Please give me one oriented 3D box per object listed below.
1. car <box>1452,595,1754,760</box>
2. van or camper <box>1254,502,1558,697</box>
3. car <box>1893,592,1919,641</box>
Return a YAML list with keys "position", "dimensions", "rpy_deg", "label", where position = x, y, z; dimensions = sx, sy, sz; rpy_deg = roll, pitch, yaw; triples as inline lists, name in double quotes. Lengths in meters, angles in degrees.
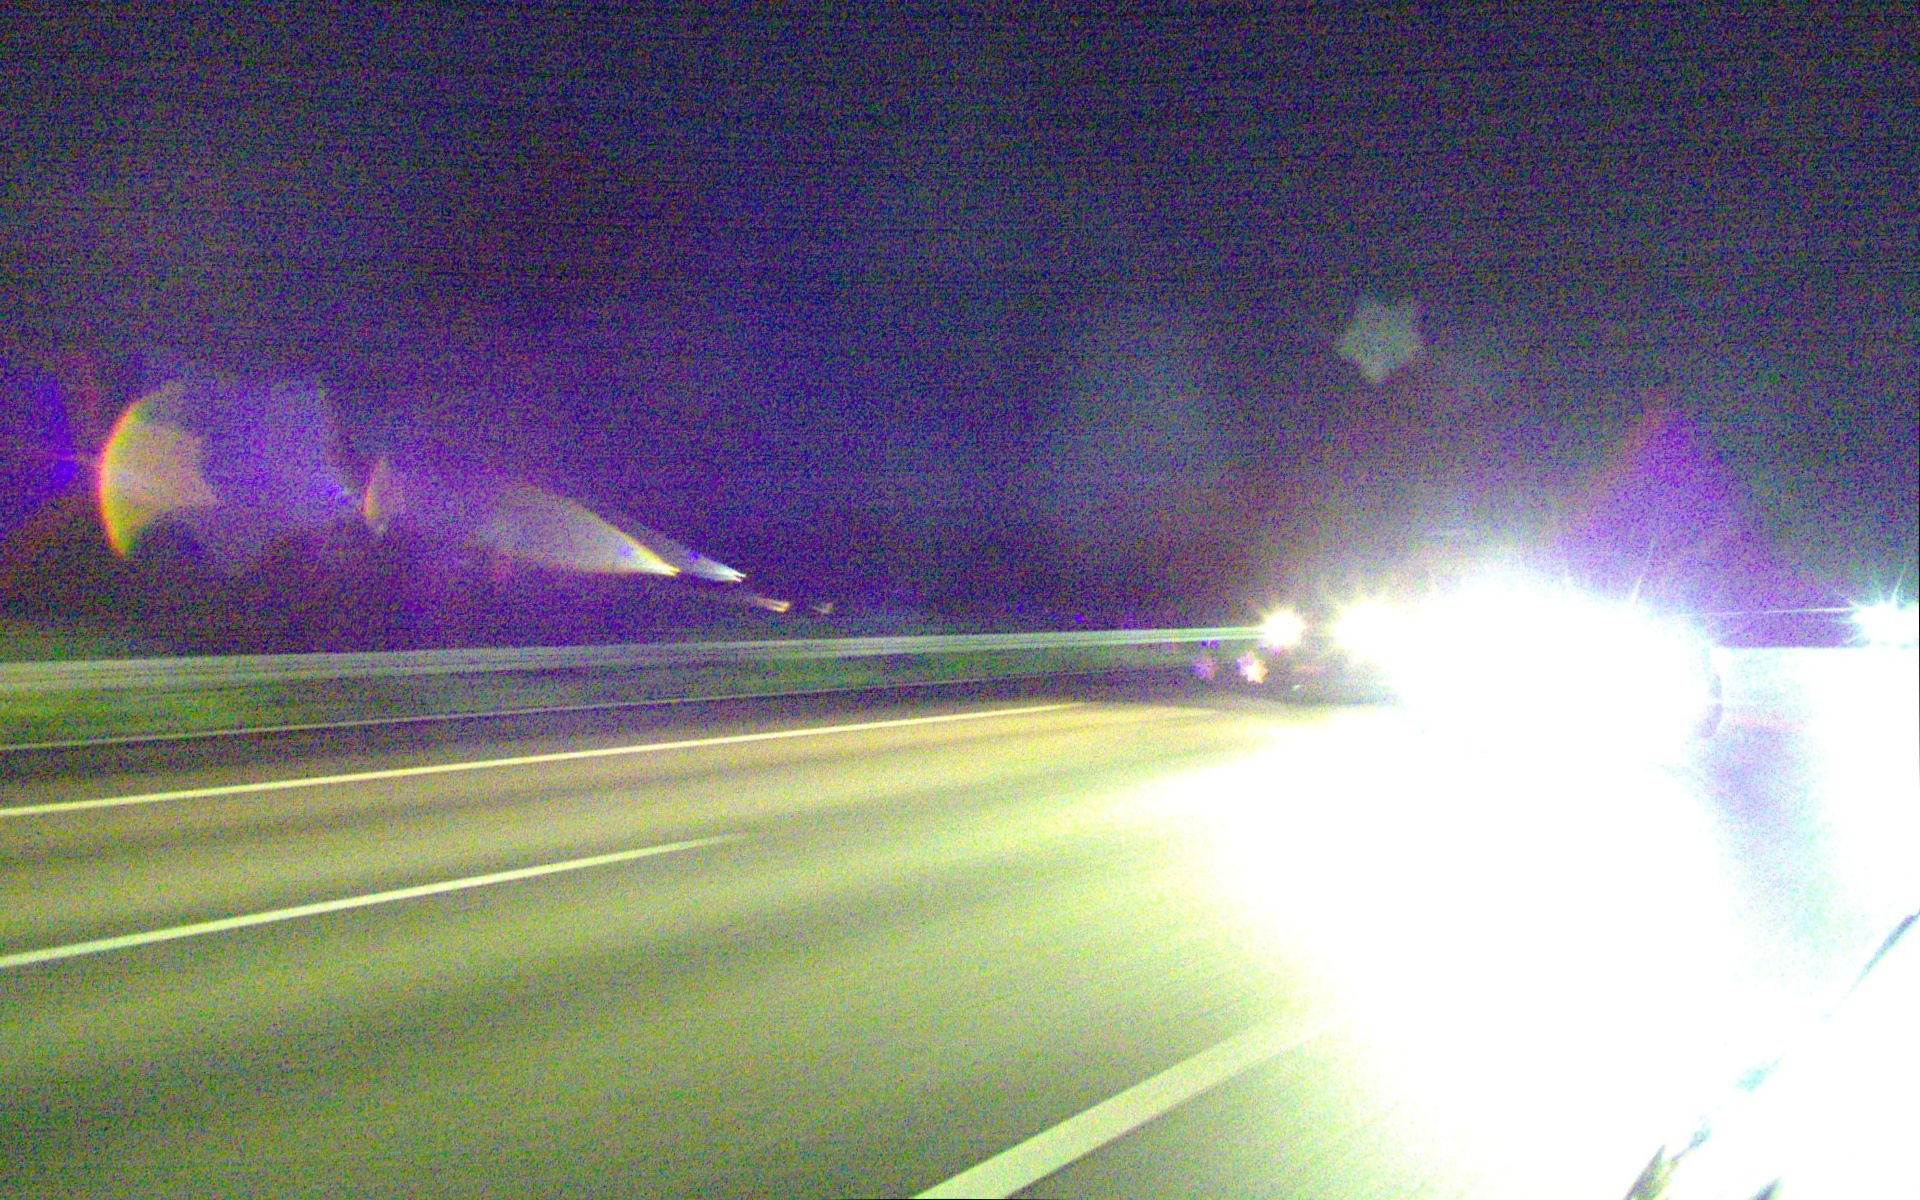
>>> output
- position: [7.167, 0.687, 11.112]
  dimensions: [4.152, 1.431, 1.689]
  rpy_deg: [-1, 1, -41]
  label: "car"
- position: [7.942, -0.018, 17.564]
  dimensions: [6.685, 2.807, 2.210]
  rpy_deg: [0, 0, -41]
  label: "van or camper"
- position: [32.783, 0.530, 33.918]
  dimensions: [4.151, 1.560, 1.793]
  rpy_deg: [0, 0, -41]
  label: "car"
